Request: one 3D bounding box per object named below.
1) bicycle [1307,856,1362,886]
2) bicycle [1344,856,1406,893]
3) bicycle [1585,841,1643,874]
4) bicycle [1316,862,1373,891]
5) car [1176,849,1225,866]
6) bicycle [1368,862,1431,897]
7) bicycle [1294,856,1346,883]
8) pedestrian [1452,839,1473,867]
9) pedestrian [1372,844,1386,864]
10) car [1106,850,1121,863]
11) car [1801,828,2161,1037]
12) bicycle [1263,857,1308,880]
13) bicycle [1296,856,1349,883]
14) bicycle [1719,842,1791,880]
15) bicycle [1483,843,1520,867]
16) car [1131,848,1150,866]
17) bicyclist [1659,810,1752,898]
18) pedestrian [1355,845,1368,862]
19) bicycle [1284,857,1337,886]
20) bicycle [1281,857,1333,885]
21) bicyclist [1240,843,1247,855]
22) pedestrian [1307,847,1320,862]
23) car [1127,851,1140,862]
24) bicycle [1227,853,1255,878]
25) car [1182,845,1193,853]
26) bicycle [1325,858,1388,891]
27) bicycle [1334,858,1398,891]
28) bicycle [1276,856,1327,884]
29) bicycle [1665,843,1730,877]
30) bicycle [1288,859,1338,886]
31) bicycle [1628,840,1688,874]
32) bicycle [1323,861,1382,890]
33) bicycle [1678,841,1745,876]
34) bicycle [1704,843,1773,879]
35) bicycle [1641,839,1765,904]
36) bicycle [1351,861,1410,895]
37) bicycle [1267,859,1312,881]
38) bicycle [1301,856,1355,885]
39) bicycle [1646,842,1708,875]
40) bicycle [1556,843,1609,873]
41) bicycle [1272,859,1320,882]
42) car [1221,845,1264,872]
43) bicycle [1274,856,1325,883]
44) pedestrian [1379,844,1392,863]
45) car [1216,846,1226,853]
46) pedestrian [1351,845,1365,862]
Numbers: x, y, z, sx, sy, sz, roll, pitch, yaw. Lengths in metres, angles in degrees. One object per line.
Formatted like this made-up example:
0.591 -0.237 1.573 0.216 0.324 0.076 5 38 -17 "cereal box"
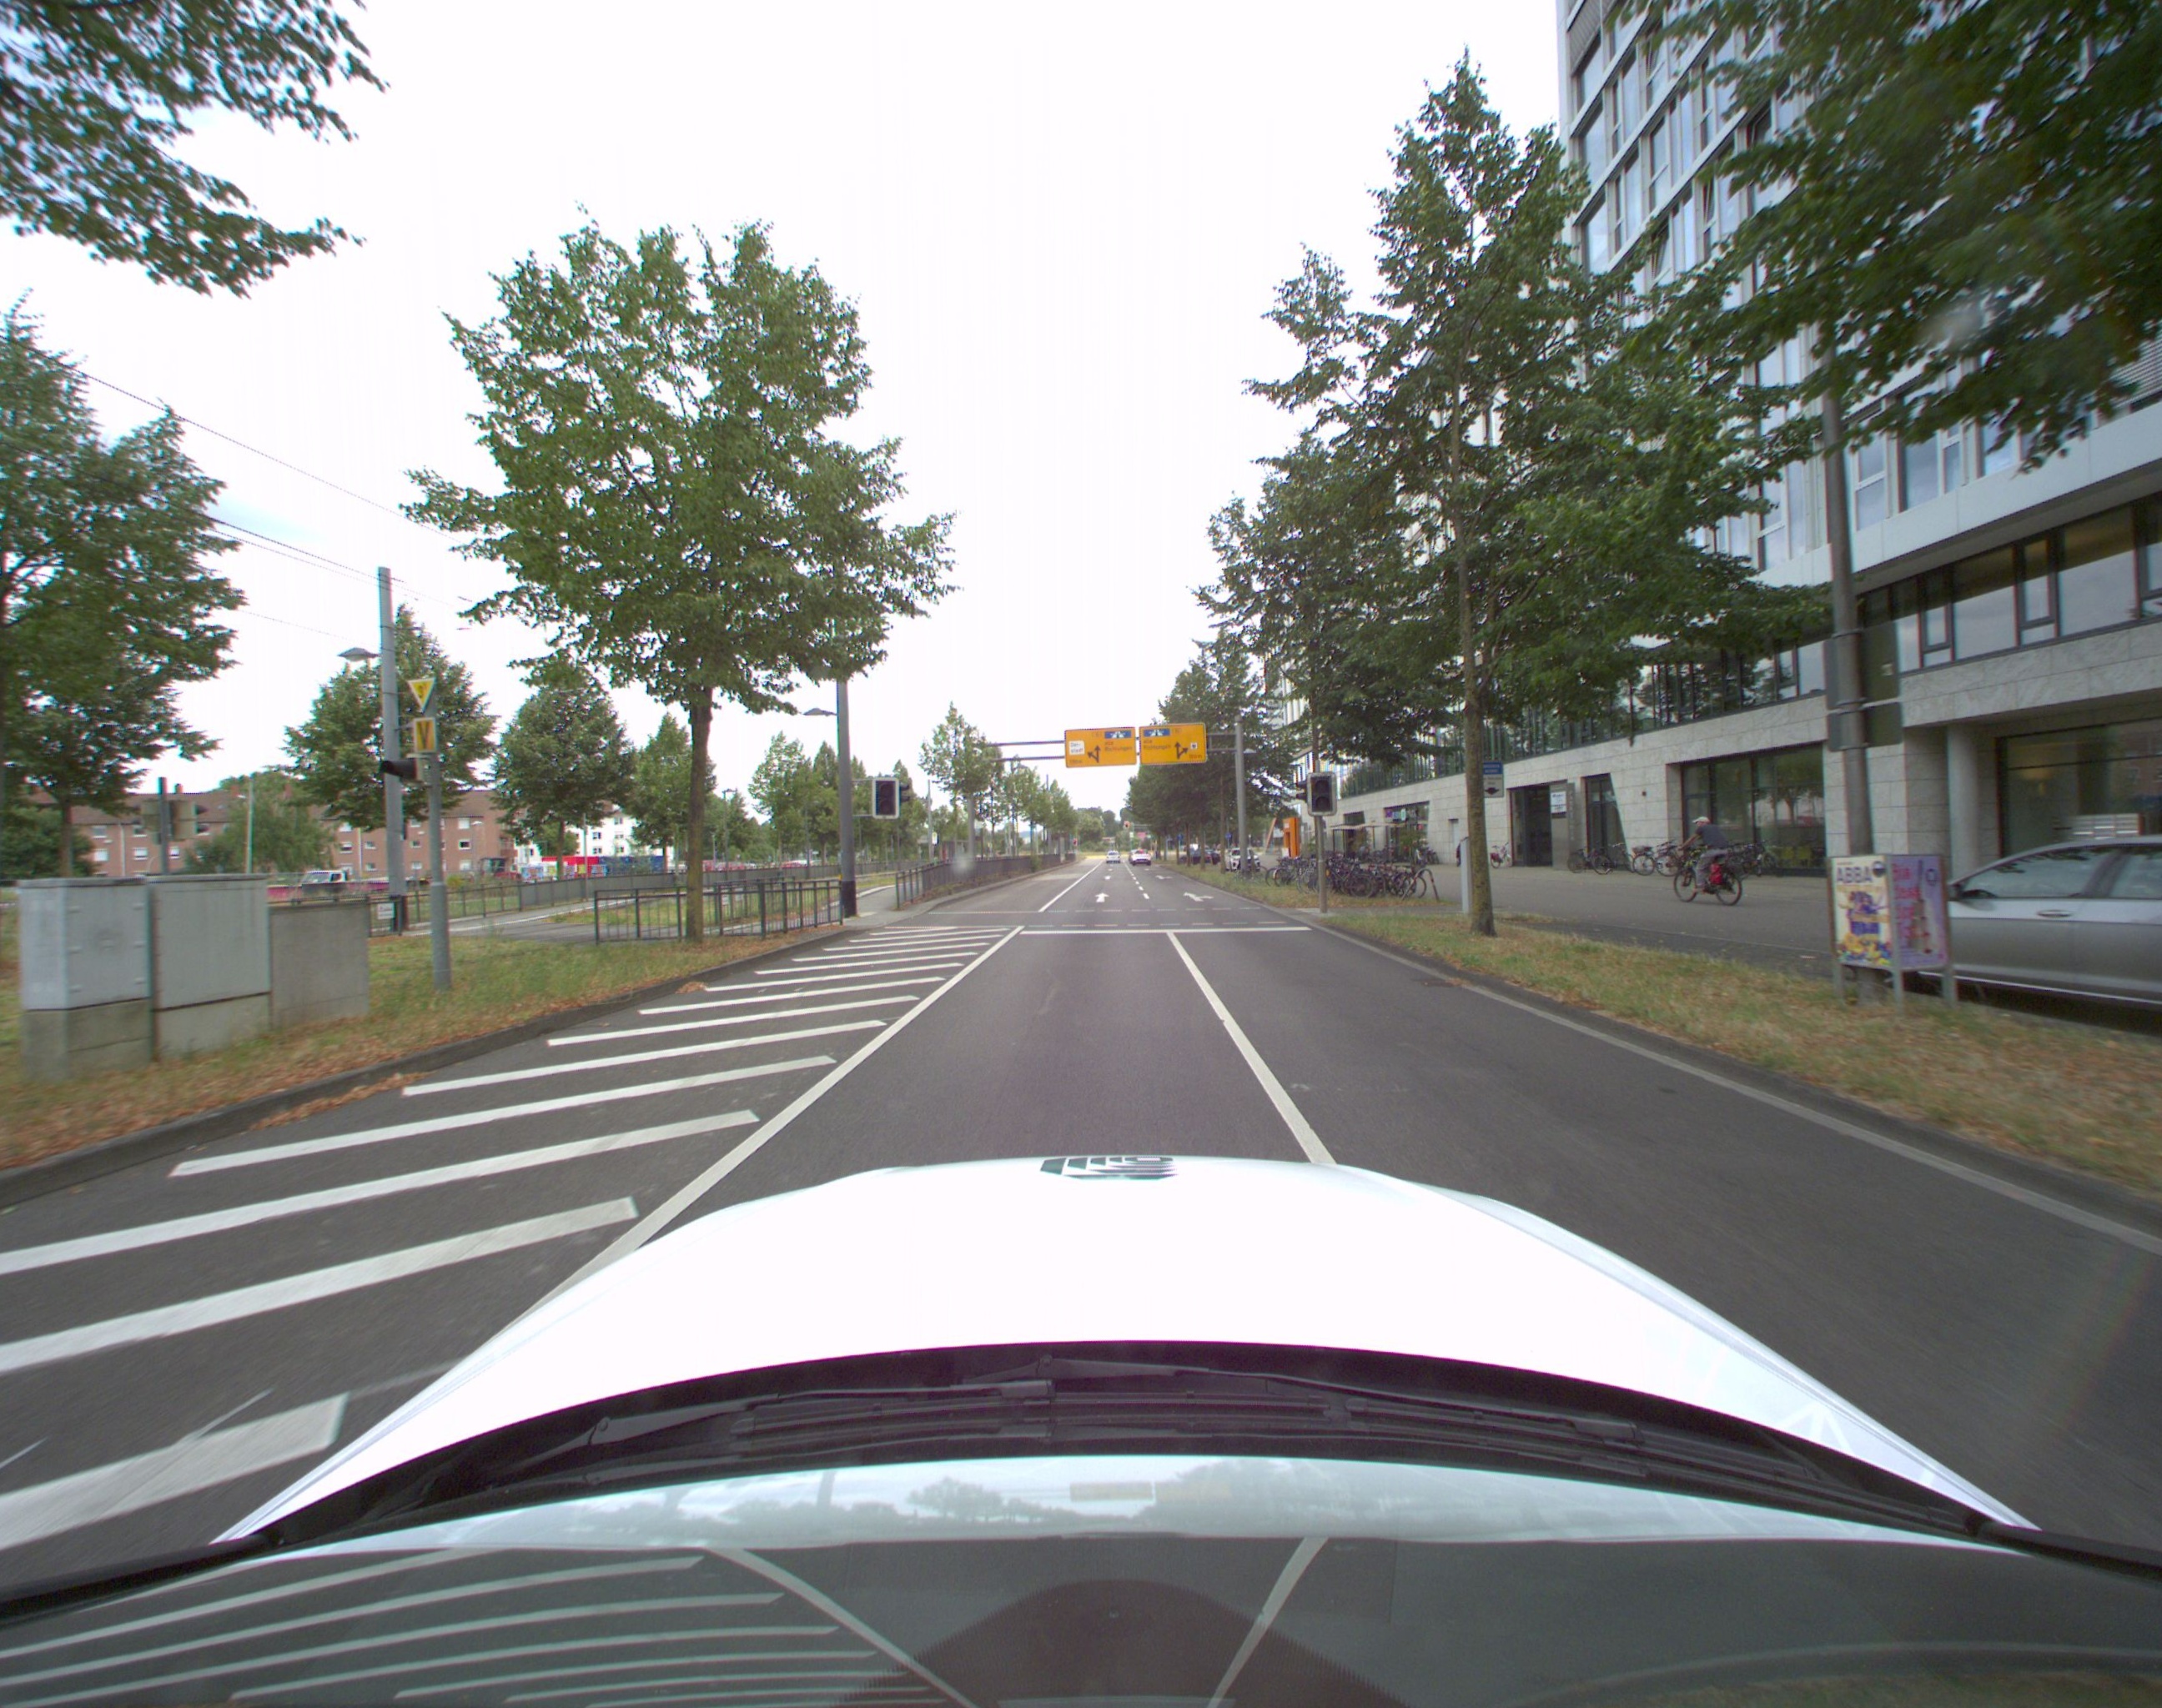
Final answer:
8.779 0.591 28.257 1.712 0.974 0.608 1 0 -7 "bicycle"
8.681 0.607 24.097 1.663 1.090 0.525 0 0 -1 "bicycle"
18.409 0.119 28.139 1.593 1.026 0.533 -3 0 -1 "bicycle"
8.723 0.746 26.962 1.712 0.906 0.587 1 0 -7 "bicycle"
11.460 0.351 78.553 1.954 1.475 4.820 -2 0 -32 "car"
8.822 0.705 22.585 1.524 0.953 0.552 0 0 -1 "bicycle"
8.975 0.590 30.590 1.741 0.974 0.608 1 0 -7 "bicycle"
19.323 -0.063 41.234 0.752 1.407 0.723 -2 0 9 "pedestrian"
19.145 -0.012 52.277 0.766 1.192 1.111 -2 0 17 "pedestrian"
3.999 0.319 101.441 1.767 1.448 3.911 -2 0 1 "car"
8.270 0.513 6.331 1.753 1.421 4.185 -2 0 2 "car"
9.229 0.648 36.774 1.855 0.995 0.574 1 0 -1 "bicycle"
8.806 0.561 29.747 1.741 0.974 0.608 1 0 -7 "bicycle"
18.562 0.187 22.442 1.524 0.953 0.533 -2 0 -1 "bicycle"
19.259 0.055 37.325 1.605 1.026 0.605 -3 0 -25 "bicycle"
5.986 0.297 82.075 1.771 1.656 4.026 -2 0 3 "car"
13.312 -0.008 17.389 0.993 1.737 1.129 -5 0 1 "bicyclist"
20.345 -0.029 59.120 0.715 1.192 0.759 -2 0 4 "pedestrian"
8.957 0.675 31.858 1.927 1.065 0.542 1 0 -7 "bicycle"
8.992 0.676 32.437 1.927 1.065 0.542 1 0 -7 "bicycle"
21.889 -0.612 109.928 0.721 1.582 0.990 -2 0 3 "bicyclist"
19.676 0.001 68.808 0.893 1.228 0.952 -2 0 7 "pedestrian"
7.237 0.366 112.430 1.619 1.448 3.911 -1 0 1 "car"
7.770 0.544 39.564 0.709 1.115 2.199 1 0 -5 "bicycle"
24.236 -1.219 185.439 1.987 1.791 3.998 0 0 -1 "car"
8.659 0.638 25.622 1.770 1.012 0.609 1 0 -7 "bicycle"
8.722 0.624 24.927 1.770 1.012 0.609 0 0 -7 "bicycle"
8.977 0.648 33.168 1.924 1.065 0.641 1 0 -1 "bicycle"
18.570 0.188 24.548 1.524 0.953 0.533 -2 0 -1 "bicycle"
8.873 0.716 31.213 1.741 0.974 0.608 1 0 -7 "bicycle"
18.641 0.081 26.314 1.524 1.026 0.533 -2 0 -1 "bicycle"
8.780 0.693 26.347 1.712 0.906 0.587 1 0 -7 "bicycle"
18.532 0.136 23.944 1.524 0.953 0.533 -2 0 -1 "bicycle"
18.559 0.194 23.002 1.524 0.953 0.533 -2 0 -1 "bicycle"
13.357 0.350 17.606 0.899 1.235 2.269 -5 0 1 "bicycle"
8.595 0.673 23.362 1.524 0.953 0.484 0 0 -1 "bicycle"
9.226 0.716 36.107 1.855 0.951 0.501 1 0 -1 "bicycle"
8.771 0.592 28.907 1.741 0.974 0.608 1 0 -7 "bicycle"
18.572 0.149 25.373 1.524 0.953 0.533 -2 0 -1 "bicycle"
18.454 0.142 29.984 1.593 1.026 0.533 -3 0 -1 "bicycle"
9.123 0.697 34.618 1.855 0.951 0.612 1 0 -1 "bicycle"
10.347 0.258 52.553 1.931 1.552 4.595 -2 0 2 "car"
9.083 0.653 33.926 1.924 1.065 0.705 1 0 -1 "bicycle"
19.945 -0.030 53.414 0.712 1.192 0.763 -2 0 24 "pedestrian"
30.845 -1.012 179.498 1.771 1.636 4.417 -2 0 12 "car"
20.393 -0.024 59.971 0.716 1.192 0.759 -2 0 1 "pedestrian"
